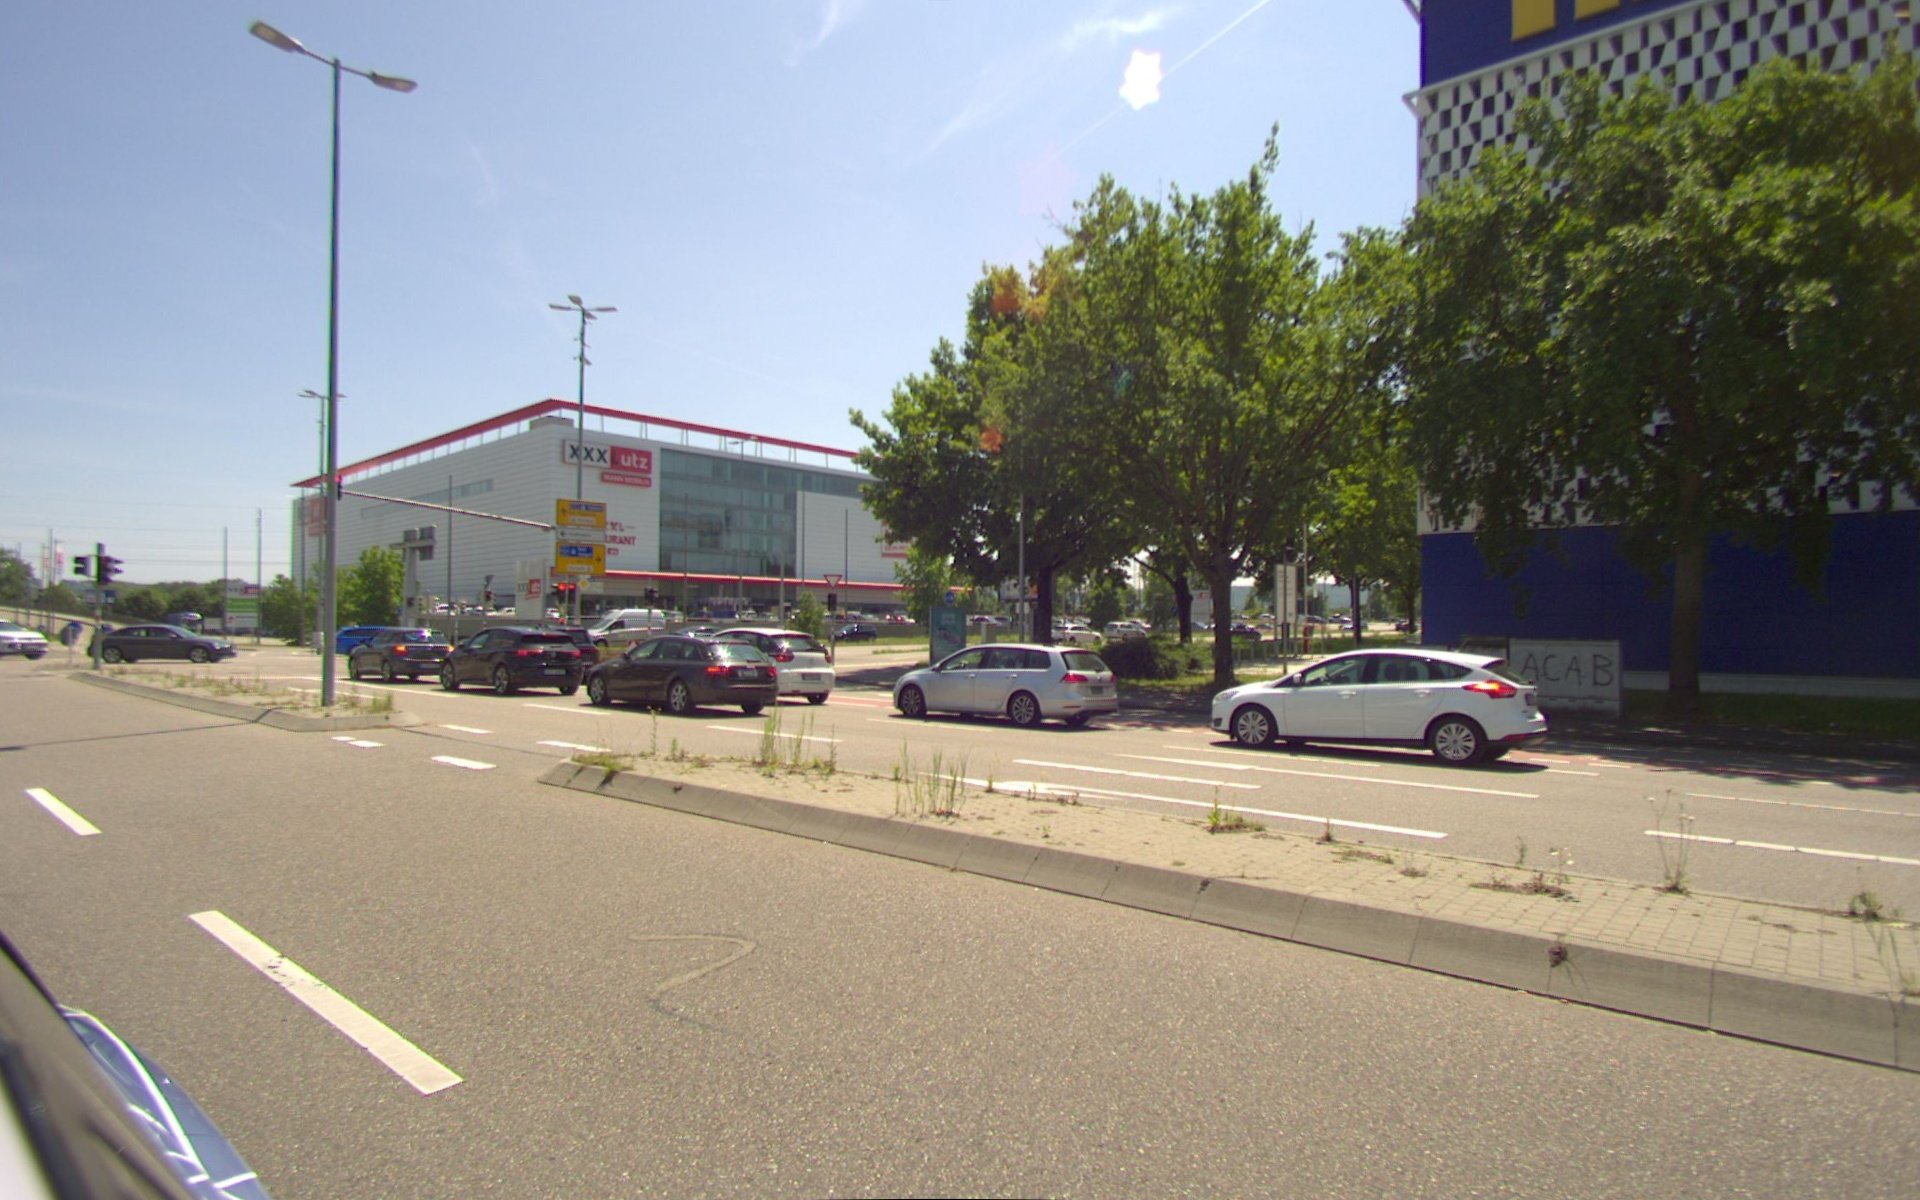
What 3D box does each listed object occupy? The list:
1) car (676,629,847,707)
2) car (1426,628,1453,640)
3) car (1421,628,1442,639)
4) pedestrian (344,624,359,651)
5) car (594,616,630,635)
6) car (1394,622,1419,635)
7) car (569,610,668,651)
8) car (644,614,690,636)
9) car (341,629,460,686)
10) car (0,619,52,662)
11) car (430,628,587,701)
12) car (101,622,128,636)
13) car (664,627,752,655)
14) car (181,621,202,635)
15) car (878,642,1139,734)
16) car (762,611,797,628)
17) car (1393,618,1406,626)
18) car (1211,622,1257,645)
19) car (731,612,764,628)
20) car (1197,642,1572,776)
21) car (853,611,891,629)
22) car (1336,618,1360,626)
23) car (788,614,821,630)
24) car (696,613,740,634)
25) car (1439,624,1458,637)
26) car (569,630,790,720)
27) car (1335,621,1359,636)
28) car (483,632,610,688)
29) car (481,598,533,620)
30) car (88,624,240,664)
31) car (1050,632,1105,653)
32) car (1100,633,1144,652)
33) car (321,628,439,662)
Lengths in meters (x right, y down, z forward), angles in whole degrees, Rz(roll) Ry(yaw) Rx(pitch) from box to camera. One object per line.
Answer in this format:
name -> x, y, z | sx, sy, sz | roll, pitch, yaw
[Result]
car -> -4.520, 1.475, 22.799 | 3.913, 1.556, 1.709 | -1, -2, 41
car -> 61.438, 4.350, 129.593 | 2.000, 1.564, 3.943 | -1, -2, 43
car -> 64.290, 4.548, 137.978 | 1.646, 1.564, 3.371 | -2, -2, 44
pedestrian -> -39.989, 2.470, 66.511 | 0.596, 1.797, 0.827 | 2, -3, -45
car -> -37.284, 2.744, 108.289 | 4.231, 2.029, 1.759 | -1, -2, 41
car -> 57.886, 3.680, 131.158 | 1.926, 1.564, 3.555 | -2, -2, 44
car -> -19.178, 1.719, 56.988 | 4.974, 2.200, 2.001 | 2, -3, -45
car -> -27.795, 2.343, 95.950 | 4.323, 2.029, 1.975 | -1, -2, 37
car -> -15.242, 1.538, 27.505 | 3.714, 1.400, 1.626 | -1, -4, 42
car -> -38.884, 1.635, 40.310 | 4.443, 1.654, 1.764 | -1, -1, 11
car -> -10.637, 1.459, 23.727 | 4.242, 1.517, 1.708 | -1, -4, 42
car -> -105.355, 3.607, 126.030 | 3.998, 1.608, 1.973 | 0, -1, 41
car -> -13.453, 2.202, 54.306 | 1.677, 1.415, 4.404 | -2, -3, 42
car -> -134.796, 4.949, 177.500 | 4.814, 2.300, 2.162 | -2, -3, 44
car -> 0.781, 1.510, 18.328 | 4.619, 1.433, 1.728 | -1, -4, 40
car -> -21.565, 2.363, 120.847 | 3.998, 2.029, 1.972 | -1, -2, 41
car -> 76.624, 3.819, 176.547 | 1.691, 1.433, 3.502 | -1, -2, 29
car -> 23.078, 2.852, 85.048 | 1.803, 1.452, 4.492 | -8, -11, 42
car -> -26.283, 2.483, 125.138 | 3.998, 2.029, 1.972 | -1, -2, 41
car -> 5.690, 1.373, 13.869 | 4.447, 1.457, 1.709 | 0, -4, 39
car -> -10.181, 2.315, 116.928 | 4.328, 2.029, 1.972 | -1, -2, 41
car -> 72.387, 4.102, 188.677 | 3.996, 1.433, 1.679 | -1, -2, 33
car -> -19.300, 2.700, 125.318 | 3.999, 1.915, 1.972 | -2, -3, 42
car -> -23.911, 2.319, 99.933 | 4.322, 2.029, 1.975 | -1, -2, 37
car -> 69.007, 4.320, 143.027 | 1.627, 1.927, 3.451 | -2, -3, 40
car -> -5.411, 1.357, 19.200 | 4.718, 1.457, 1.708 | -1, -4, 42
car -> 52.480, 3.866, 137.316 | 1.816, 2.029, 3.945 | -2, -3, 41
car -> -11.812, 1.664, 28.800 | 4.036, 1.435, 1.643 | -1, -2, 41
car -> -44.818, 0.938, 100.187 | 1.678, 2.029, 4.412 | -2, -3, 42
car -> -29.185, 1.617, 37.247 | 4.020, 1.393, 1.776 | 1, -1, -17
car -> 8.365, 3.051, 71.854 | 1.794, 1.447, 4.011 | -4, -5, 44
car -> 13.186, 3.470, 82.263 | 1.697, 1.433, 3.953 | -3, -4, 42
car -> -25.133, 1.924, 43.979 | 4.355, 1.414, 1.776 | 1, -3, -29
